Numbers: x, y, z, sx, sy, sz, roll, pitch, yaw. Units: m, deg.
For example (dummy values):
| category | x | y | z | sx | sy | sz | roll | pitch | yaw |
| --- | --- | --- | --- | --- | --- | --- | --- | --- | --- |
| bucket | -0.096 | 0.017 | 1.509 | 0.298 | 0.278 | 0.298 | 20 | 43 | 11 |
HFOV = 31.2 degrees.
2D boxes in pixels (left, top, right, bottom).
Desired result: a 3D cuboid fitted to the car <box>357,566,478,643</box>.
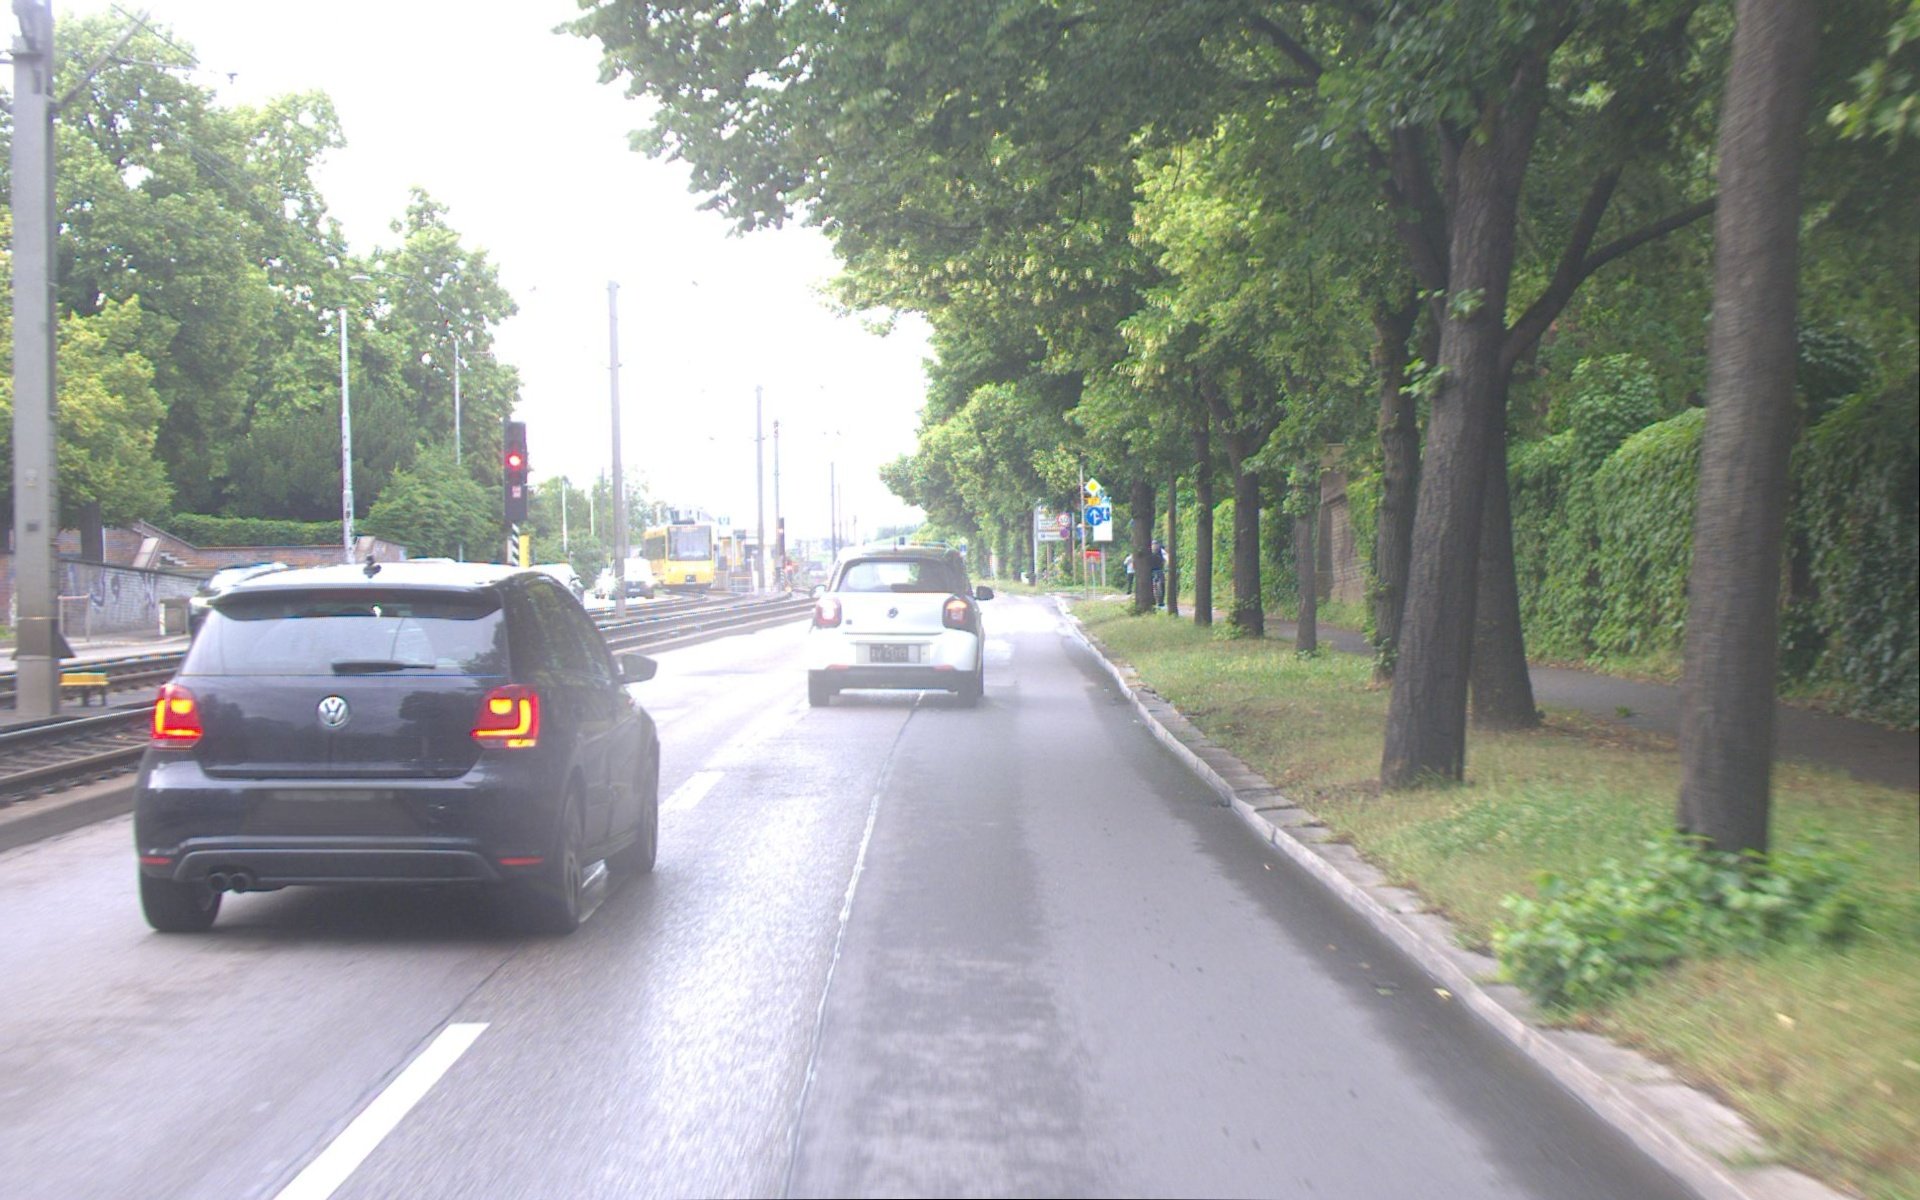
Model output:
| category | x | y | z | sx | sy | sz | roll | pitch | yaw |
| --- | --- | --- | --- | --- | --- | --- | --- | --- | --- |
| car | -12.284 | 0.089 | 78.130 | 1.835 | 1.650 | 4.239 | -1 | 1 | 3 |

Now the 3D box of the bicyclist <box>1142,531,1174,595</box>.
| category | x | y | z | sx | sy | sz | roll | pitch | yaw |
| --- | --- | --- | --- | --- | --- | --- | --- | --- | --- |
| bicyclist | 5.024 | -0.952 | 87.238 | 0.763 | 1.610 | 0.999 | -1 | 1 | 0 |

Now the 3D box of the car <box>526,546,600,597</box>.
| category | x | y | z | sx | sy | sz | roll | pitch | yaw |
| --- | --- | --- | --- | --- | --- | --- | --- | --- | --- |
| car | -11.895 | -0.868 | 103.173 | 1.681 | 1.456 | 3.608 | -1 | 1 | 1 |

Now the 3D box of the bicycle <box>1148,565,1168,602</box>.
| category | x | y | z | sx | sy | sz | roll | pitch | yaw |
| --- | --- | --- | --- | --- | --- | --- | --- | --- | --- |
| bicycle | 5.021 | -0.421 | 87.243 | 0.407 | 0.899 | 2.099 | -1 | 1 | 0 |

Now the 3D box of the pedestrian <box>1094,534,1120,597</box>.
| category | x | y | z | sx | sy | sz | roll | pitch | yaw |
| --- | --- | --- | --- | --- | --- | --- | --- | --- | --- |
| pedestrian | 6.943 | -1.620 | 162.275 | 1.164 | 2.967 | 0.948 | 1 | 1 | 0 |

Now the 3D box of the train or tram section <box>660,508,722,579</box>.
| category | x | y | z | sx | sy | sz | roll | pitch | yaw |
| --- | --- | --- | --- | --- | --- | --- | --- | --- | --- |
| train or tram section | -14.065 | -2.967 | 180.028 | 2.832 | 3.593 | 9.271 | 1 | 1 | -2 |

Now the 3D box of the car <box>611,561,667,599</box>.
| category | x | y | z | sx | sy | sz | roll | pitch | yaw |
| --- | --- | --- | --- | --- | --- | --- | --- | --- | --- |
| car | -14.362 | -0.921 | 154.215 | 1.993 | 1.656 | 5.127 | 1 | 1 | 0 |

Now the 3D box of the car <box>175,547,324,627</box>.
| category | x | y | z | sx | sy | sz | roll | pitch | yaw |
| --- | --- | --- | --- | --- | --- | --- | --- | --- | --- |
| car | -15.355 | -0.309 | 74.515 | 2.013 | 1.650 | 4.616 | -1 | 1 | 3 |

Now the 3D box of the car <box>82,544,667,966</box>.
| category | x | y | z | sx | sy | sz | roll | pitch | yaw |
| --- | --- | --- | --- | --- | --- | --- | --- | --- | --- |
| car | -2.295 | 0.532 | 14.467 | 1.794 | 1.480 | 3.965 | 1 | 1 | 0 |

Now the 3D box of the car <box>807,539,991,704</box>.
| category | x | y | z | sx | sy | sz | roll | pitch | yaw |
| --- | --- | --- | --- | --- | --- | --- | --- | --- | --- |
| car | -0.553 | 0.168 | 34.099 | 1.676 | 1.525 | 3.721 | -1 | 1 | 1 |
